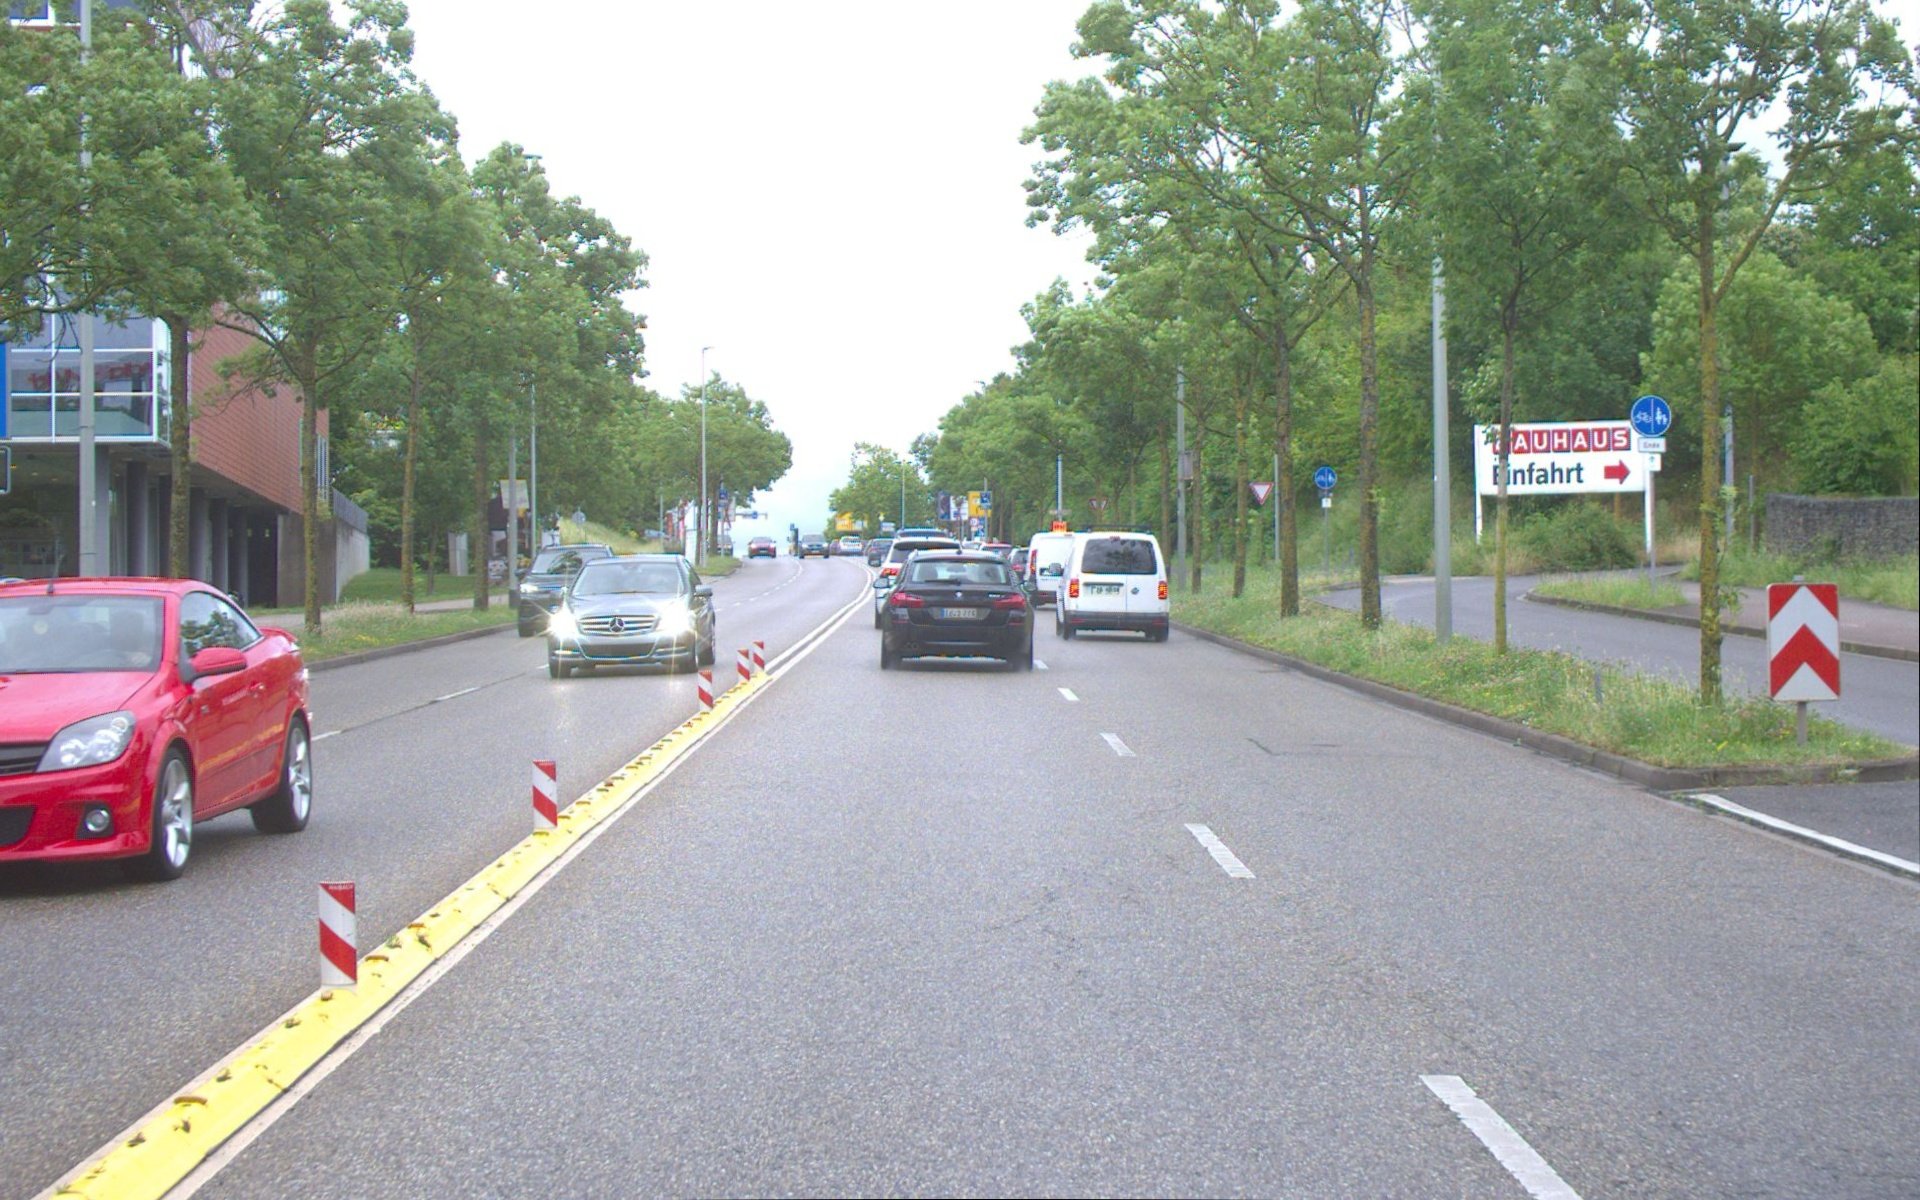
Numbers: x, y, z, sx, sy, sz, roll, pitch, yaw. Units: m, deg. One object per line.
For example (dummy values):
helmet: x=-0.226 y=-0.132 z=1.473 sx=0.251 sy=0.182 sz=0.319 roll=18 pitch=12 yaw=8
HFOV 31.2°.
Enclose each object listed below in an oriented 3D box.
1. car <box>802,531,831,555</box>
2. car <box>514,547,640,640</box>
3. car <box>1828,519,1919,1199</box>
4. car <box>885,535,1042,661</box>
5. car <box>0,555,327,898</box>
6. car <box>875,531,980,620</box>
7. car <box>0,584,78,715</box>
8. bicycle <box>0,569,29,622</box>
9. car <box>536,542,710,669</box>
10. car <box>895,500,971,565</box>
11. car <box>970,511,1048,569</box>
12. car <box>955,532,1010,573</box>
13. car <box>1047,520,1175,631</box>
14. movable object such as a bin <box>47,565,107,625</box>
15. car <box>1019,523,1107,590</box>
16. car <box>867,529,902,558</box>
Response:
car: x=-9.494 y=-3.736 z=226.809 sx=1.794 sy=1.505 sz=4.001 roll=2 pitch=0 yaw=-4
car: x=-7.056 y=-0.143 z=63.726 sx=1.787 sy=1.608 sz=4.436 roll=-2 pitch=1 yaw=0
car: x=2.951 y=0.659 z=5.874 sx=1.685 sy=1.575 sz=4.219 roll=1 pitch=1 yaw=-2
car: x=0.042 y=-0.053 z=42.625 sx=1.827 sy=1.463 sz=4.000 roll=-1 pitch=1 yaw=0
car: x=-4.445 y=0.531 z=17.011 sx=1.762 sy=1.420 sz=4.180 roll=-1 pitch=2 yaw=1
car: x=-0.602 y=-0.444 z=62.545 sx=1.794 sy=1.505 sz=4.000 roll=2 pitch=0 yaw=-1
car: x=-12.740 y=0.642 z=43.760 sx=1.867 sy=1.547 sz=4.576 roll=-2 pitch=1 yaw=-1
bicycle: x=-18.423 y=-0.139 z=63.470 sx=2.077 sy=0.932 sz=1.093 roll=4 pitch=0 yaw=3
car: x=-4.084 y=0.041 z=42.191 sx=1.667 sy=1.405 sz=4.378 roll=-2 pitch=1 yaw=0
car: x=-0.683 y=-1.664 z=85.771 sx=1.794 sy=1.505 sz=4.000 roll=2 pitch=0 yaw=-1
car: x=1.341 y=-1.635 z=95.151 sx=1.794 sy=1.505 sz=4.001 roll=2 pitch=0 yaw=-4
car: x=0.848 y=-1.814 z=133.318 sx=1.794 sy=1.505 sz=4.001 roll=2 pitch=0 yaw=-4
car: x=2.512 y=-0.437 z=57.884 sx=1.827 sy=1.753 sz=4.000 roll=2 pitch=1 yaw=-2
movable object such as a bin: x=-16.539 y=-0.101 z=64.407 sx=0.819 sy=1.075 sz=1.086 roll=3 pitch=1 yaw=0
car: x=2.414 y=-1.020 z=81.376 sx=1.794 sy=1.505 sz=4.000 roll=2 pitch=0 yaw=-2
car: x=-4.096 y=-3.049 z=186.134 sx=1.794 sy=1.505 sz=4.000 roll=2 pitch=0 yaw=-2
